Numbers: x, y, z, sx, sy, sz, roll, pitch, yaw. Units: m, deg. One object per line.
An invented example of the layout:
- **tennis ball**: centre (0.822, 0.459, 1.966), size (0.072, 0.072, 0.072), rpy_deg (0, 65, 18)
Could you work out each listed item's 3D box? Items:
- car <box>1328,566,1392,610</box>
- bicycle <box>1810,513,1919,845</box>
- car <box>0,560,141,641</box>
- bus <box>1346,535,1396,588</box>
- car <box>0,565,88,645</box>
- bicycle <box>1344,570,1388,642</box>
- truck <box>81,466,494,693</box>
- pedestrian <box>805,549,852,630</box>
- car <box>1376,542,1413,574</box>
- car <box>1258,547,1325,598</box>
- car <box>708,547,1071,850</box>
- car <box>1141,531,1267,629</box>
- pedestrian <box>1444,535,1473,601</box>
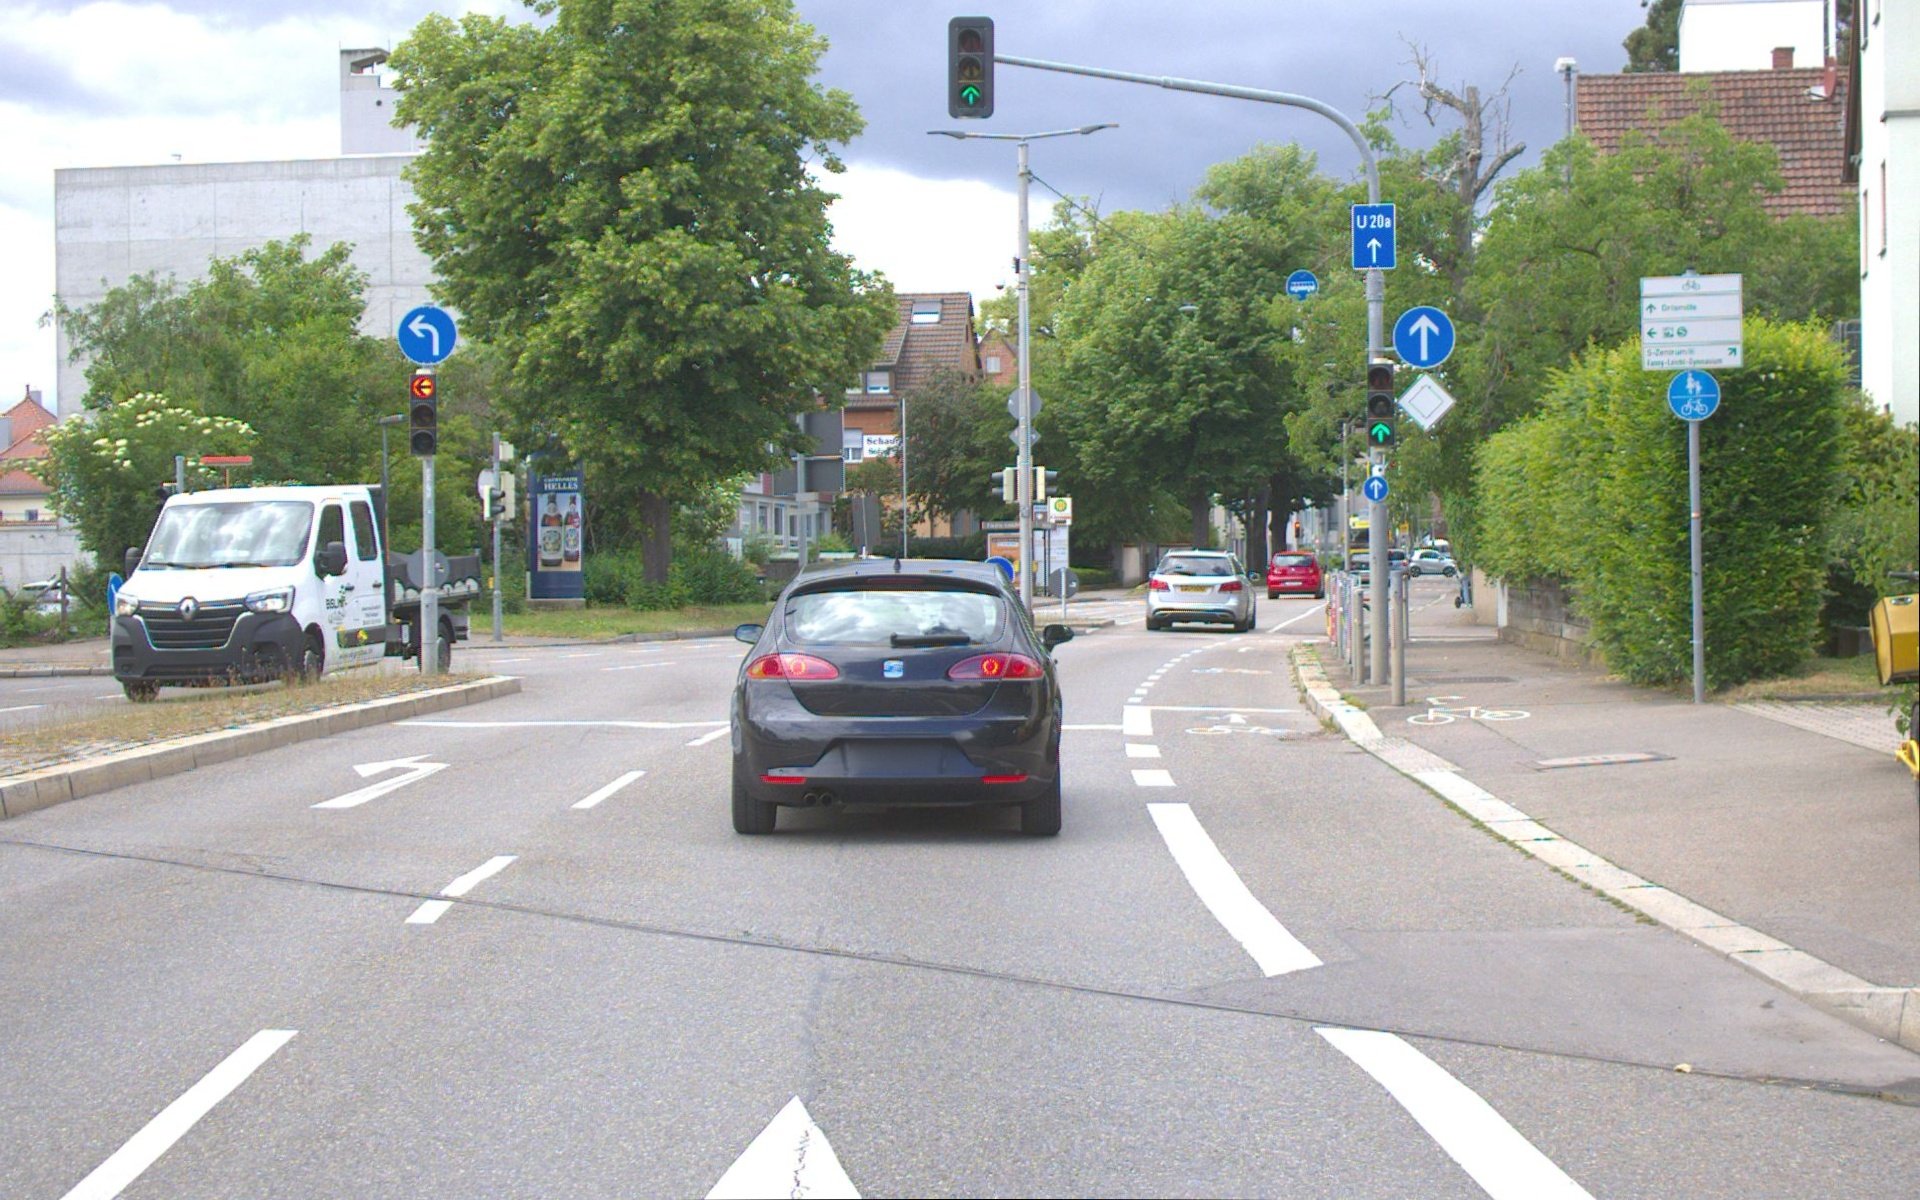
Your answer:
- **car**: centre (16.148, -0.499, 138.799), size (1.995, 1.678, 3.997), rpy_deg (-1, 1, 15)
- **bicycle**: centre (4.883, 0.333, 16.696), size (0.891, 1.505, 2.783), rpy_deg (-5, 1, 4)
- **car**: centre (-23.335, 0.009, 89.658), size (1.995, 2.007, 3.996), rpy_deg (2, 1, 18)
- **bus**: centre (25.310, -2.383, 211.423), size (2.869, 3.125, 6.395), rpy_deg (-1, 1, 8)
- **car**: centre (-24.939, 0.121, 90.445), size (1.995, 2.007, 3.996), rpy_deg (2, 1, 18)
- **bicycle**: centre (5.880, 0.080, 49.794), size (0.628, 1.025, 1.504), rpy_deg (0, 1, 7)
- **truck**: centre (-7.280, -0.256, 38.175), size (2.126, 2.257, 6.803), rpy_deg (-1, 1, 10)
- **pedestrian**: centre (-2.381, -0.196, 62.300), size (0.773, 1.402, 0.601), rpy_deg (3, 3, -4)
- **car**: centre (22.461, -2.179, 177.691), size (1.849, 1.590, 4.105), rpy_deg (-1, 1, 8)
- **car**: centre (10.313, -0.868, 106.818), size (1.942, 1.476, 4.252), rpy_deg (-1, 1, 7)
- **car**: centre (-0.293, 0.463, 19.008), size (1.759, 1.444, 3.714), rpy_deg (2, 1, 2)
- **car**: centre (4.520, -0.399, 63.217), size (1.820, 1.693, 4.251), rpy_deg (-1, 1, 10)
- **pedestrian**: centre (11.753, -0.752, 81.005), size (0.550, 1.512, 0.361), rpy_deg (-3, 1, 18)
